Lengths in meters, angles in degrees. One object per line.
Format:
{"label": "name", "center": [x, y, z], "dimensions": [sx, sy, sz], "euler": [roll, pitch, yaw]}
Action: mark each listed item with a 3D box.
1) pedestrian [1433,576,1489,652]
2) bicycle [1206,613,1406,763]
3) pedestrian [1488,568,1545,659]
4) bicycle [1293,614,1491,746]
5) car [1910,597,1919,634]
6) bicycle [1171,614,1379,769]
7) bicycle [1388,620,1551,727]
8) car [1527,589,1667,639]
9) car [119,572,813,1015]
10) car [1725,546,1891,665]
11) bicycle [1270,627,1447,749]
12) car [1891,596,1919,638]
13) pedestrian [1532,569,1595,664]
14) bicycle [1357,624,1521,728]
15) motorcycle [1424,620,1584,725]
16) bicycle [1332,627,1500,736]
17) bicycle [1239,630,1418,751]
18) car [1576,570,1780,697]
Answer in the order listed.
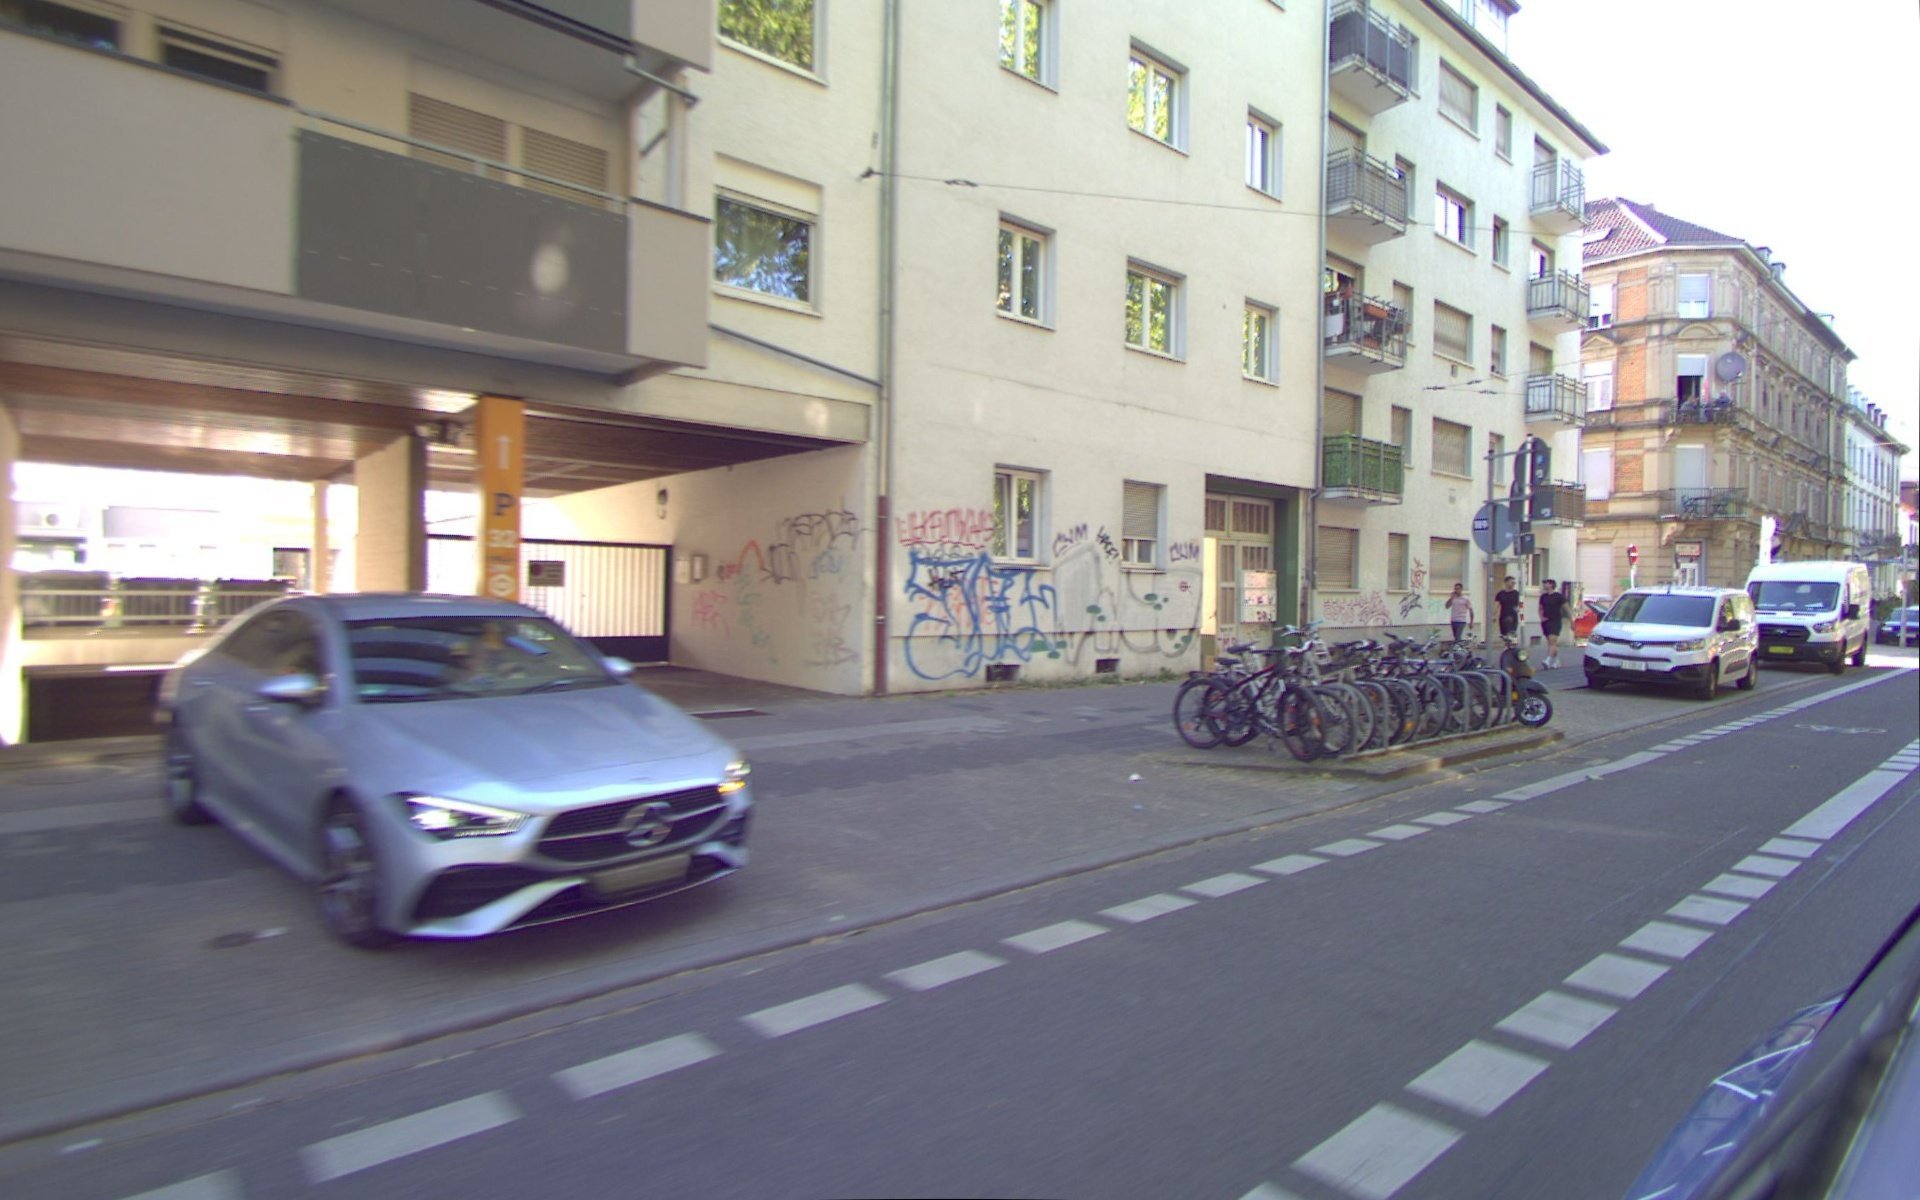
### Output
{"label": "pedestrian", "center": [11.050, 0.291, 22.325], "dimensions": [0.916, 1.598, 0.634], "euler": [-1, 7, -39]}
{"label": "bicycle", "center": [3.313, 0.795, 9.851], "dimensions": [0.449, 1.206, 1.828], "euler": [0, 3, -40]}
{"label": "pedestrian", "center": [11.646, 0.263, 21.172], "dimensions": [1.062, 1.845, 0.626], "euler": [-1, 3, -39]}
{"label": "bicycle", "center": [4.574, 0.794, 10.826], "dimensions": [0.692, 1.162, 1.798], "euler": [0, 3, -40]}
{"label": "car", "center": [40.109, 0.657, 41.203], "dimensions": [3.942, 1.438, 1.606], "euler": [-1, 3, -41]}
{"label": "bicycle", "center": [2.923, 0.802, 9.585], "dimensions": [0.449, 1.206, 1.897], "euler": [0, 3, -40]}
{"label": "bicycle", "center": [6.036, 0.841, 12.077], "dimensions": [0.449, 1.068, 1.657], "euler": [0, 3, -40]}
{"label": "car", "center": [21.469, 0.440, 34.211], "dimensions": [1.757, 1.594, 3.659], "euler": [-1, 1, -38]}
{"label": "car", "center": [-3.105, 0.652, 5.826], "dimensions": [4.607, 1.455, 1.838], "euler": [4, 3, 39]}
{"label": "car", "center": [20.424, 0.082, 24.258], "dimensions": [5.982, 2.526, 2.153], "euler": [0, 1, -41]}
{"label": "bicycle", "center": [4.071, 0.864, 10.453], "dimensions": [0.449, 1.033, 1.657], "euler": [0, 3, -40]}
{"label": "car", "center": [36.137, 0.645, 37.769], "dimensions": [3.991, 1.438, 1.652], "euler": [-1, 4, -42]}
{"label": "pedestrian", "center": [12.126, 0.310, 20.337], "dimensions": [1.062, 1.845, 0.711], "euler": [-1, 3, -39]}
{"label": "bicycle", "center": [5.539, 0.852, 11.795], "dimensions": [0.449, 0.999, 1.657], "euler": [0, 3, -40]}
{"label": "motorcycle", "center": [6.724, 0.855, 12.623], "dimensions": [0.604, 1.093, 1.829], "euler": [1, 2, -17]}
{"label": "bicycle", "center": [5.091, 0.878, 11.390], "dimensions": [0.449, 0.999, 1.657], "euler": [0, 3, -40]}
{"label": "bicycle", "center": [3.656, 0.866, 10.157], "dimensions": [0.449, 0.978, 1.657], "euler": [0, 3, -40]}
{"label": "car", "center": [12.570, 0.450, 17.616], "dimensions": [4.276, 1.841, 1.863], "euler": [-1, 5, -41]}
